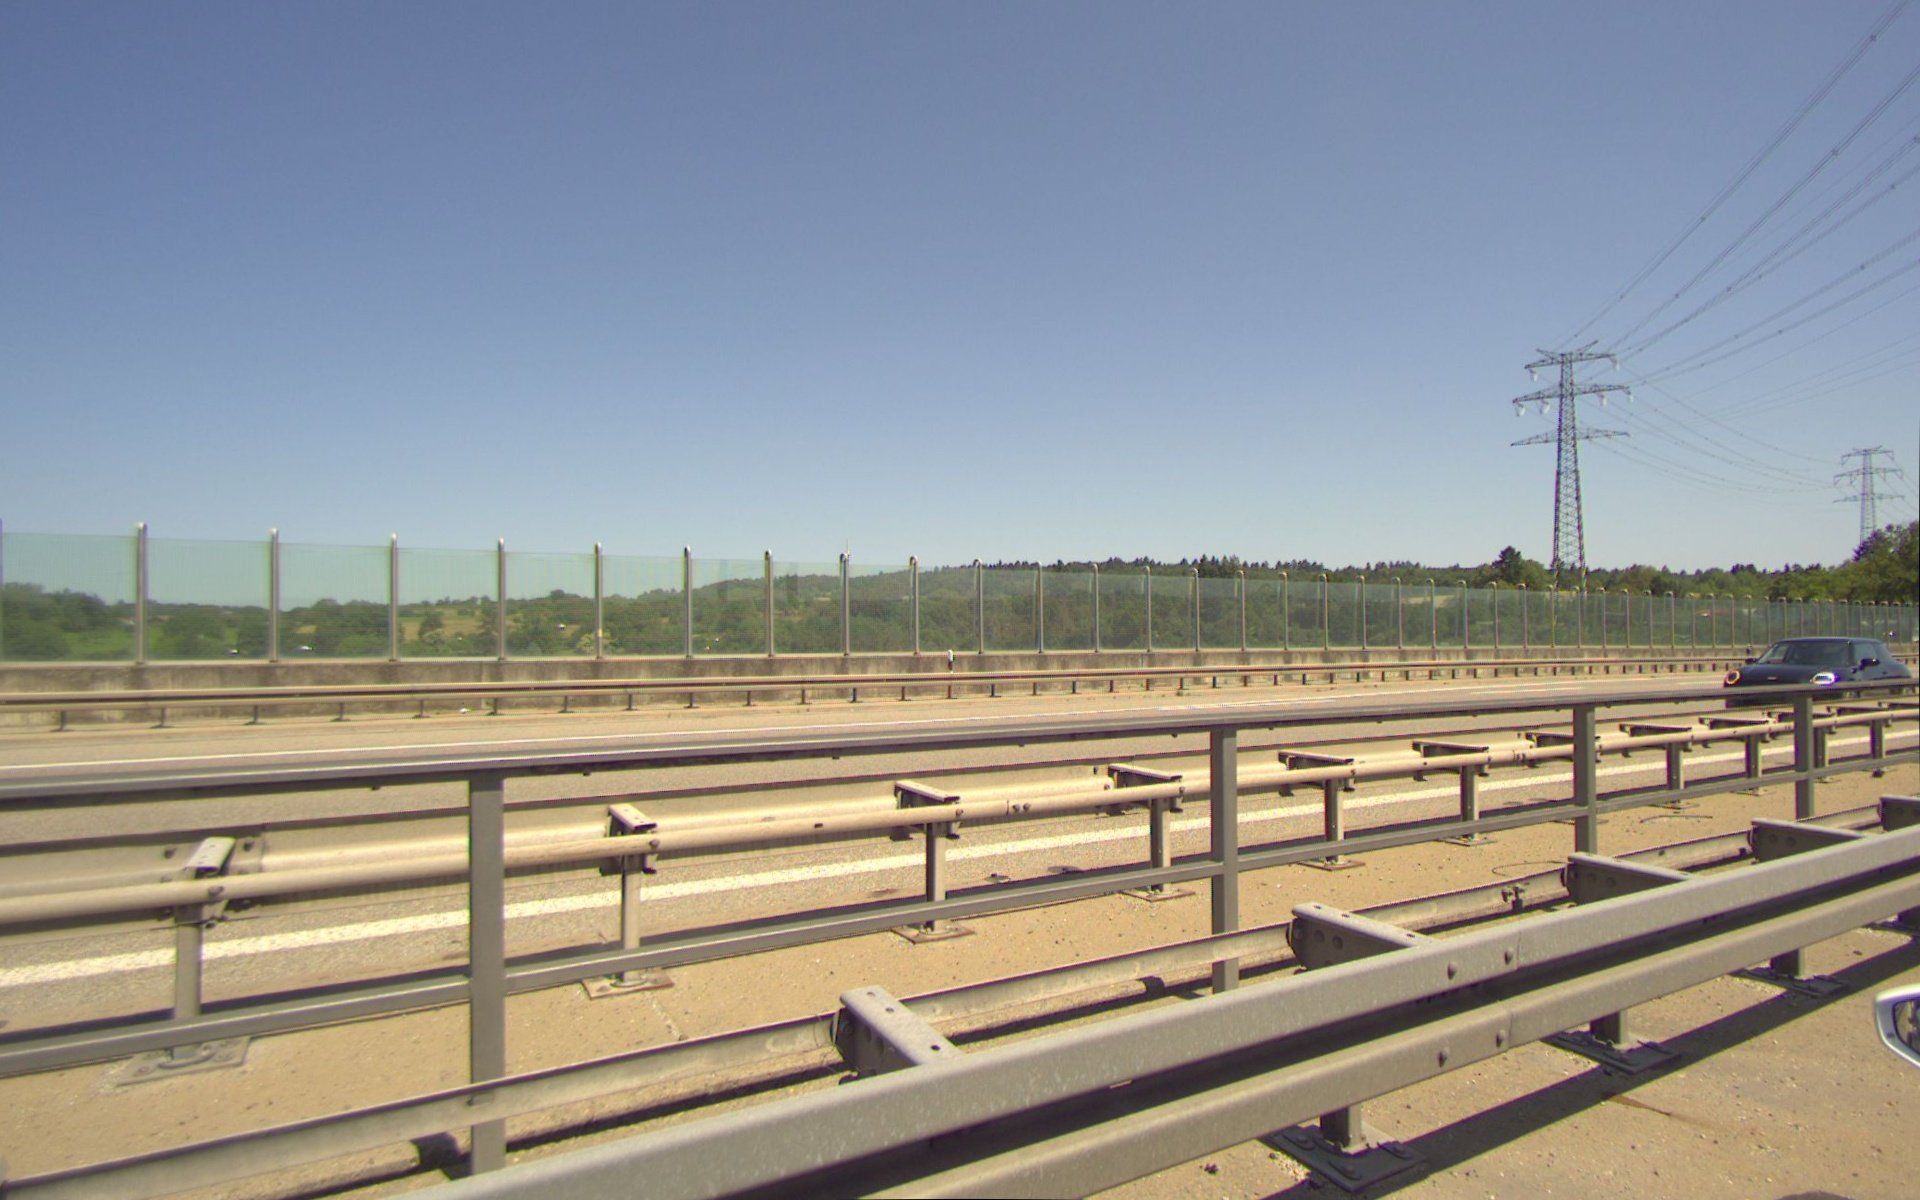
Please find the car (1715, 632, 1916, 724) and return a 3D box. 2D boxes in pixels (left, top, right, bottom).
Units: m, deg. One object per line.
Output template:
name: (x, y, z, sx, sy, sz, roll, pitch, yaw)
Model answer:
car: (15.344, 1.337, 17.995, 3.658, 1.483, 1.612, 1, -3, -30)
